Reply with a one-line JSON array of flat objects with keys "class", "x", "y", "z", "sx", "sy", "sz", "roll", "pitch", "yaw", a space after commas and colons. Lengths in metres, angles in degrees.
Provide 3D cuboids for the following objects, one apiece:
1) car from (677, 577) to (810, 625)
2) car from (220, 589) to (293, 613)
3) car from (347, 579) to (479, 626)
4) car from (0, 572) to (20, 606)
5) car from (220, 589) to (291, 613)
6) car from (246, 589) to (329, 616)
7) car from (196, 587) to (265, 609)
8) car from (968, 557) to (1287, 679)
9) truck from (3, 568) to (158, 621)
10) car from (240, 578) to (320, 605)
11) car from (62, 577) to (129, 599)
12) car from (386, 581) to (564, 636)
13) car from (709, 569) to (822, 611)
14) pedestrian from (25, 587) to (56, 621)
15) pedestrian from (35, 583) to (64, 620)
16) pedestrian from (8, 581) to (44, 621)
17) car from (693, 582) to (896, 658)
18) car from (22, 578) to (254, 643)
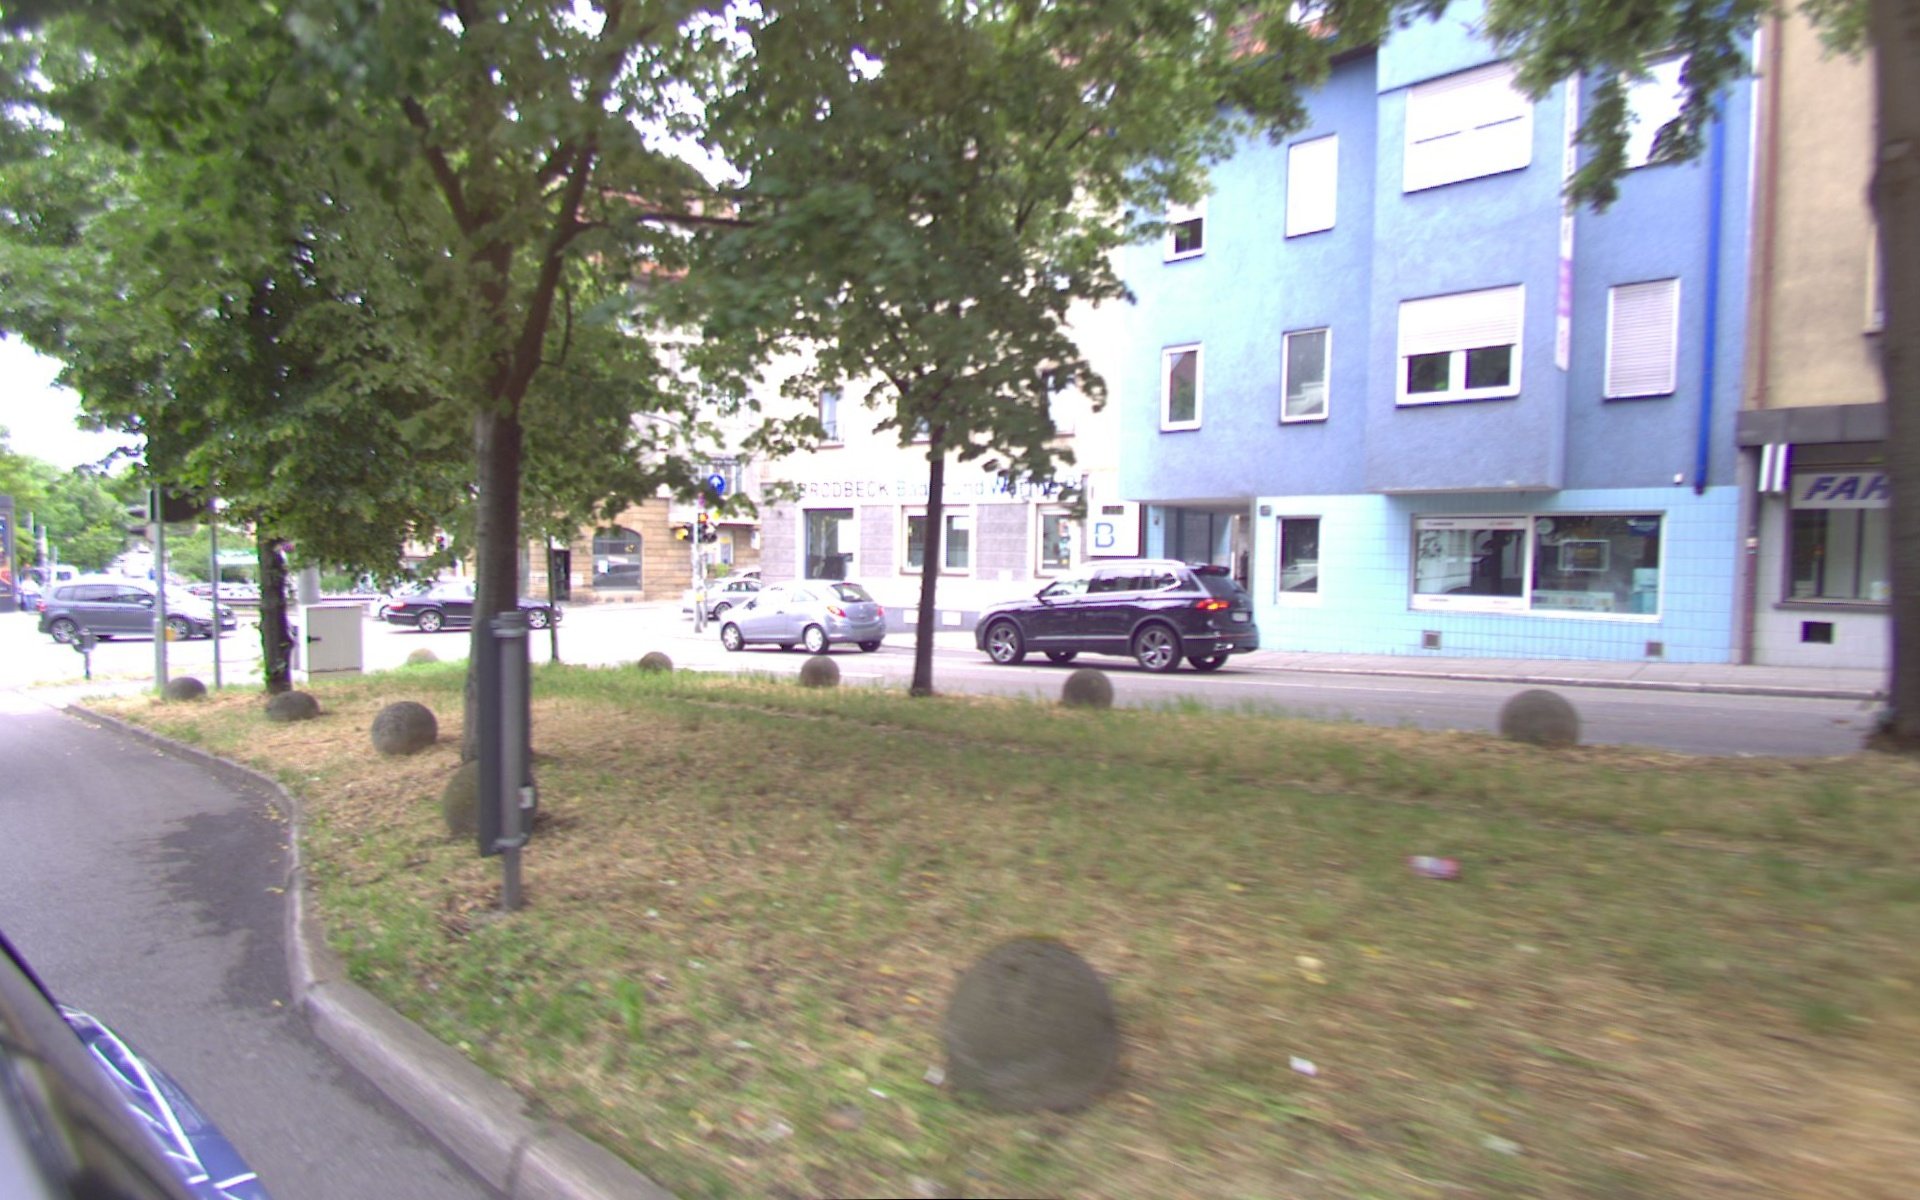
[{"class": "car", "x": -7.445, "y": -0.006, "z": 35.046, "sx": 4.199, "sy": 1.352, "sz": 1.711, "roll": -3, "pitch": 5, "yaw": -38}, {"class": "car", "x": -50.333, "y": 0.071, "z": 72.488, "sx": 3.868, "sy": 1.610, "sz": 1.898, "roll": -1, "pitch": 3, "yaw": -12}, {"class": "car", "x": -18.810, "y": 0.051, "z": 34.858, "sx": 3.895, "sy": 1.441, "sz": 1.802, "roll": -2, "pitch": 3, "yaw": -31}, {"class": "car", "x": -47.472, "y": -0.507, "z": 48.639, "sx": 2.174, "sy": 1.583, "sz": 4.493, "roll": -2, "pitch": 3, "yaw": -27}, {"class": "car", "x": -52.231, "y": 0.049, "z": 75.107, "sx": 3.868, "sy": 1.610, "sz": 1.898, "roll": -1, "pitch": 3, "yaw": -12}, {"class": "car", "x": -42.151, "y": 0.134, "z": 63.484, "sx": 3.874, "sy": 1.610, "sz": 1.895, "roll": 0, "pitch": 3, "yaw": -4}, {"class": "car", "x": -56.753, "y": -0.176, "z": 78.794, "sx": 3.868, "sy": 1.610, "sz": 1.898, "roll": -1, "pitch": 3, "yaw": -12}, {"class": "car", "x": 2.494, "y": 0.221, "z": 15.855, "sx": 4.675, "sy": 1.649, "sz": 1.798, "roll": 1, "pitch": 0, "yaw": 40}, {"class": "truck", "x": -49.417, "y": -0.311, "z": 57.137, "sx": 2.739, "sy": 2.743, "sz": 6.443, "roll": -1, "pitch": 0, "yaw": 6}, {"class": "car", "x": -44.325, "y": -0.568, "z": 66.006, "sx": 3.874, "sy": 1.610, "sz": 1.895, "roll": 0, "pitch": 3, "yaw": -4}, {"class": "car", "x": -73.230, "y": -1.056, "z": 85.818, "sx": 1.877, "sy": 1.717, "sz": 3.912, "roll": 1, "pitch": 3, "yaw": 17}, {"class": "car", "x": -14.465, "y": 0.196, "z": 30.294, "sx": 4.657, "sy": 1.430, "sz": 1.848, "roll": -2, "pitch": 3, "yaw": -28}, {"class": "car", "x": -7.499, "y": -0.415, "z": 39.232, "sx": 3.990, "sy": 1.484, "sz": 1.655, "roll": -2, "pitch": 3, "yaw": -39}, {"class": "pedestrian", "x": -37.356, "y": 0.144, "z": 41.123, "sx": 0.621, "sy": 1.351, "sz": 0.662, "roll": 0, "pitch": 3, "yaw": 7}, {"class": "pedestrian", "x": -36.758, "y": 0.050, "z": 40.849, "sx": 0.594, "sy": 1.443, "sz": 0.604, "roll": 0, "pitch": 3, "yaw": 7}, {"class": "pedestrian", "x": -38.125, "y": 0.016, "z": 41.307, "sx": 0.793, "sy": 1.594, "sz": 0.704, "roll": 0, "pitch": 3, "yaw": 6}, {"class": "car", "x": -3.476, "y": 0.384, "z": 20.831, "sx": 4.289, "sy": 1.417, "sz": 1.653, "roll": -1, "pitch": 0, "yaw": 38}, {"class": "car", "x": -22.469, "y": 0.254, "z": 27.819, "sx": 4.655, "sy": 1.626, "sz": 1.862, "roll": -1, "pitch": 1, "yaw": -6}]
